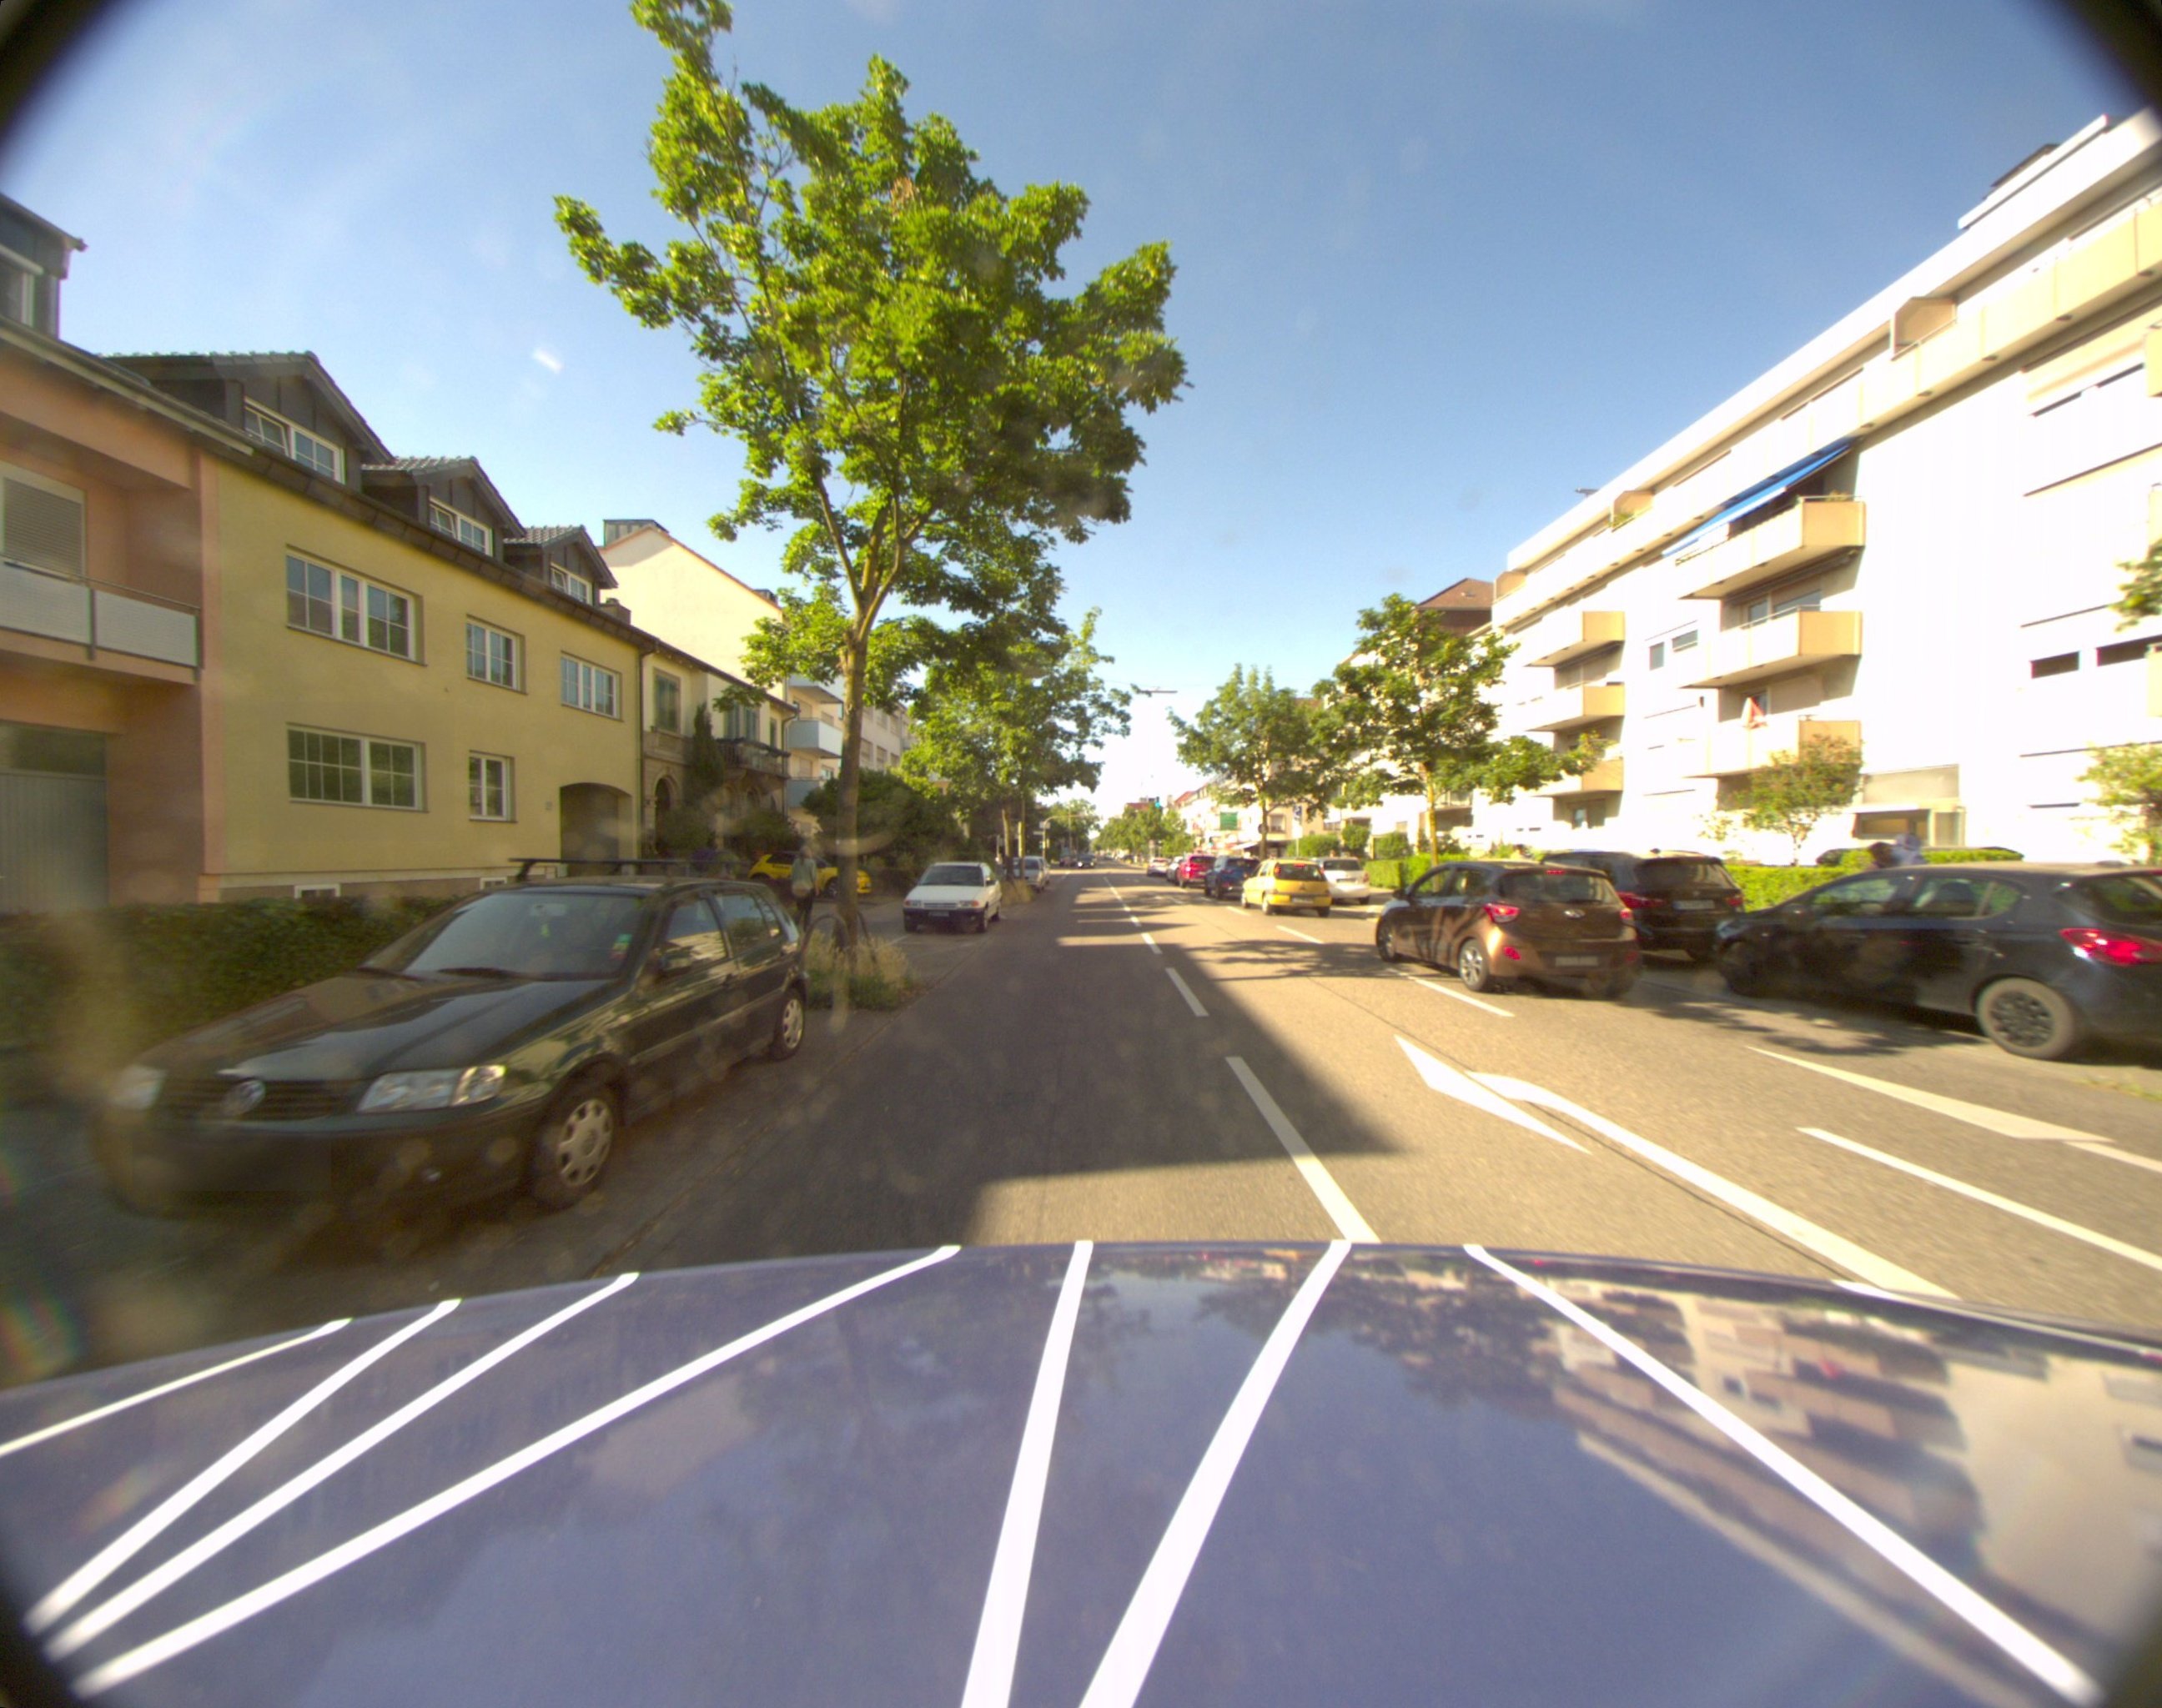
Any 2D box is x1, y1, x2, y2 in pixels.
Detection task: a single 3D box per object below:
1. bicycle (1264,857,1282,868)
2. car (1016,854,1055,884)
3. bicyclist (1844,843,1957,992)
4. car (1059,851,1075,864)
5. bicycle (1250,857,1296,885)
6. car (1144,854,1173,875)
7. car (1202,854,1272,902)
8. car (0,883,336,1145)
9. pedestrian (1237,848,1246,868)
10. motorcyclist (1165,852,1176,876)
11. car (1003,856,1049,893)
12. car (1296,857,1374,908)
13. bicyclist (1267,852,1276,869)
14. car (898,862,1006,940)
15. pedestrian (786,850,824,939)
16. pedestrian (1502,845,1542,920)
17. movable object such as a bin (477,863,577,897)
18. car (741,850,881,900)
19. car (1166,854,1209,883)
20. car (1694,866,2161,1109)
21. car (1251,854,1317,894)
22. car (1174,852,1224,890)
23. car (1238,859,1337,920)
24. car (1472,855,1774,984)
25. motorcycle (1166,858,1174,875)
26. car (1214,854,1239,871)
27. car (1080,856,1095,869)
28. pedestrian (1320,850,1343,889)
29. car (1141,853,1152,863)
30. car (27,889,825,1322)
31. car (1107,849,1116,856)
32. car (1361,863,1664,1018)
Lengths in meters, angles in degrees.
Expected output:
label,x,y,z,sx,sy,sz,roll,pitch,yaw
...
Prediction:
label,x,y,z,sx,sy,sz,roll,pitch,yaw
bicycle,18.208,0.810,72.023,1.565,1.070,0.449,0,1,-1
car,-2.374,0.748,40.860,1.743,1.473,4.196,1,1,1
bicyclist,9.947,0.740,9.246,0.610,1.744,0.691,0,1,1
car,-1.693,0.360,93.248,1.822,1.542,4.304,0,0,1
bicycle,8.324,0.730,32.948,1.831,1.080,0.560,-3,1,0
car,5.814,0.757,57.643,1.702,1.398,4.505,2,0,0
car,5.504,0.802,27.326,1.660,1.508,4.076,2,0,1
car,-6.870,0.948,4.333,1.535,1.348,3.717,2,0,1
pedestrian,13.585,0.340,64.280,0.659,1.649,0.682,0,1,2
motorcyclist,6.205,0.695,52.753,0.730,1.637,0.918,2,1,6
car,-2.326,0.832,32.980,1.570,1.448,3.865,1,1,1
car,8.201,0.869,24.824,1.404,1.480,3.685,-1,0,2
bicyclist,18.086,0.572,72.023,0.685,1.598,0.578,0,1,-1
car,-2.665,0.914,16.501,1.653,1.395,3.969,1,0,0
pedestrian,-5.300,0.767,14.606,0.539,1.667,0.493,1,1,1
pedestrian,9.940,0.622,17.127,0.470,1.641,0.719,-1,1,1
movable object such as a bin,-15.863,0.735,21.828,1.780,0.889,1.488,1,0,-2
car,-8.978,0.671,25.490,3.997,1.433,1.831,3,1,1
car,5.984,0.785,43.178,1.818,1.456,4.778,2,1,1
car,7.900,0.909,6.904,1.605,1.468,3.931,-1,0,3
car,8.052,0.753,30.434,1.508,1.467,3.895,-1,0,-2
car,5.508,0.751,35.988,1.726,1.607,4.300,2,0,2
car,5.420,0.881,20.393,1.638,1.395,3.736,2,0,0
car,8.075,0.844,11.934,1.674,1.596,4.394,-1,0,1
motorcycle,6.153,0.836,52.789,0.449,1.115,1.933,2,1,5
car,15.065,0.854,78.859,1.764,1.613,4.304,0,0,1
car,0.725,0.879,82.054,1.654,1.348,4.304,0,0,1
pedestrian,11.007,0.689,33.433,0.671,1.677,0.929,-1,1,0
car,8.794,0.491,102.088,1.322,1.348,3.093,0,1,1
car,-2.951,0.984,4.558,1.535,1.348,3.717,0,0,1
car,7.555,-0.370,189.446,1.966,1.911,5.496,0,0,1
car,5.035,0.895,9.519,1.585,1.443,3.744,3,0,0
